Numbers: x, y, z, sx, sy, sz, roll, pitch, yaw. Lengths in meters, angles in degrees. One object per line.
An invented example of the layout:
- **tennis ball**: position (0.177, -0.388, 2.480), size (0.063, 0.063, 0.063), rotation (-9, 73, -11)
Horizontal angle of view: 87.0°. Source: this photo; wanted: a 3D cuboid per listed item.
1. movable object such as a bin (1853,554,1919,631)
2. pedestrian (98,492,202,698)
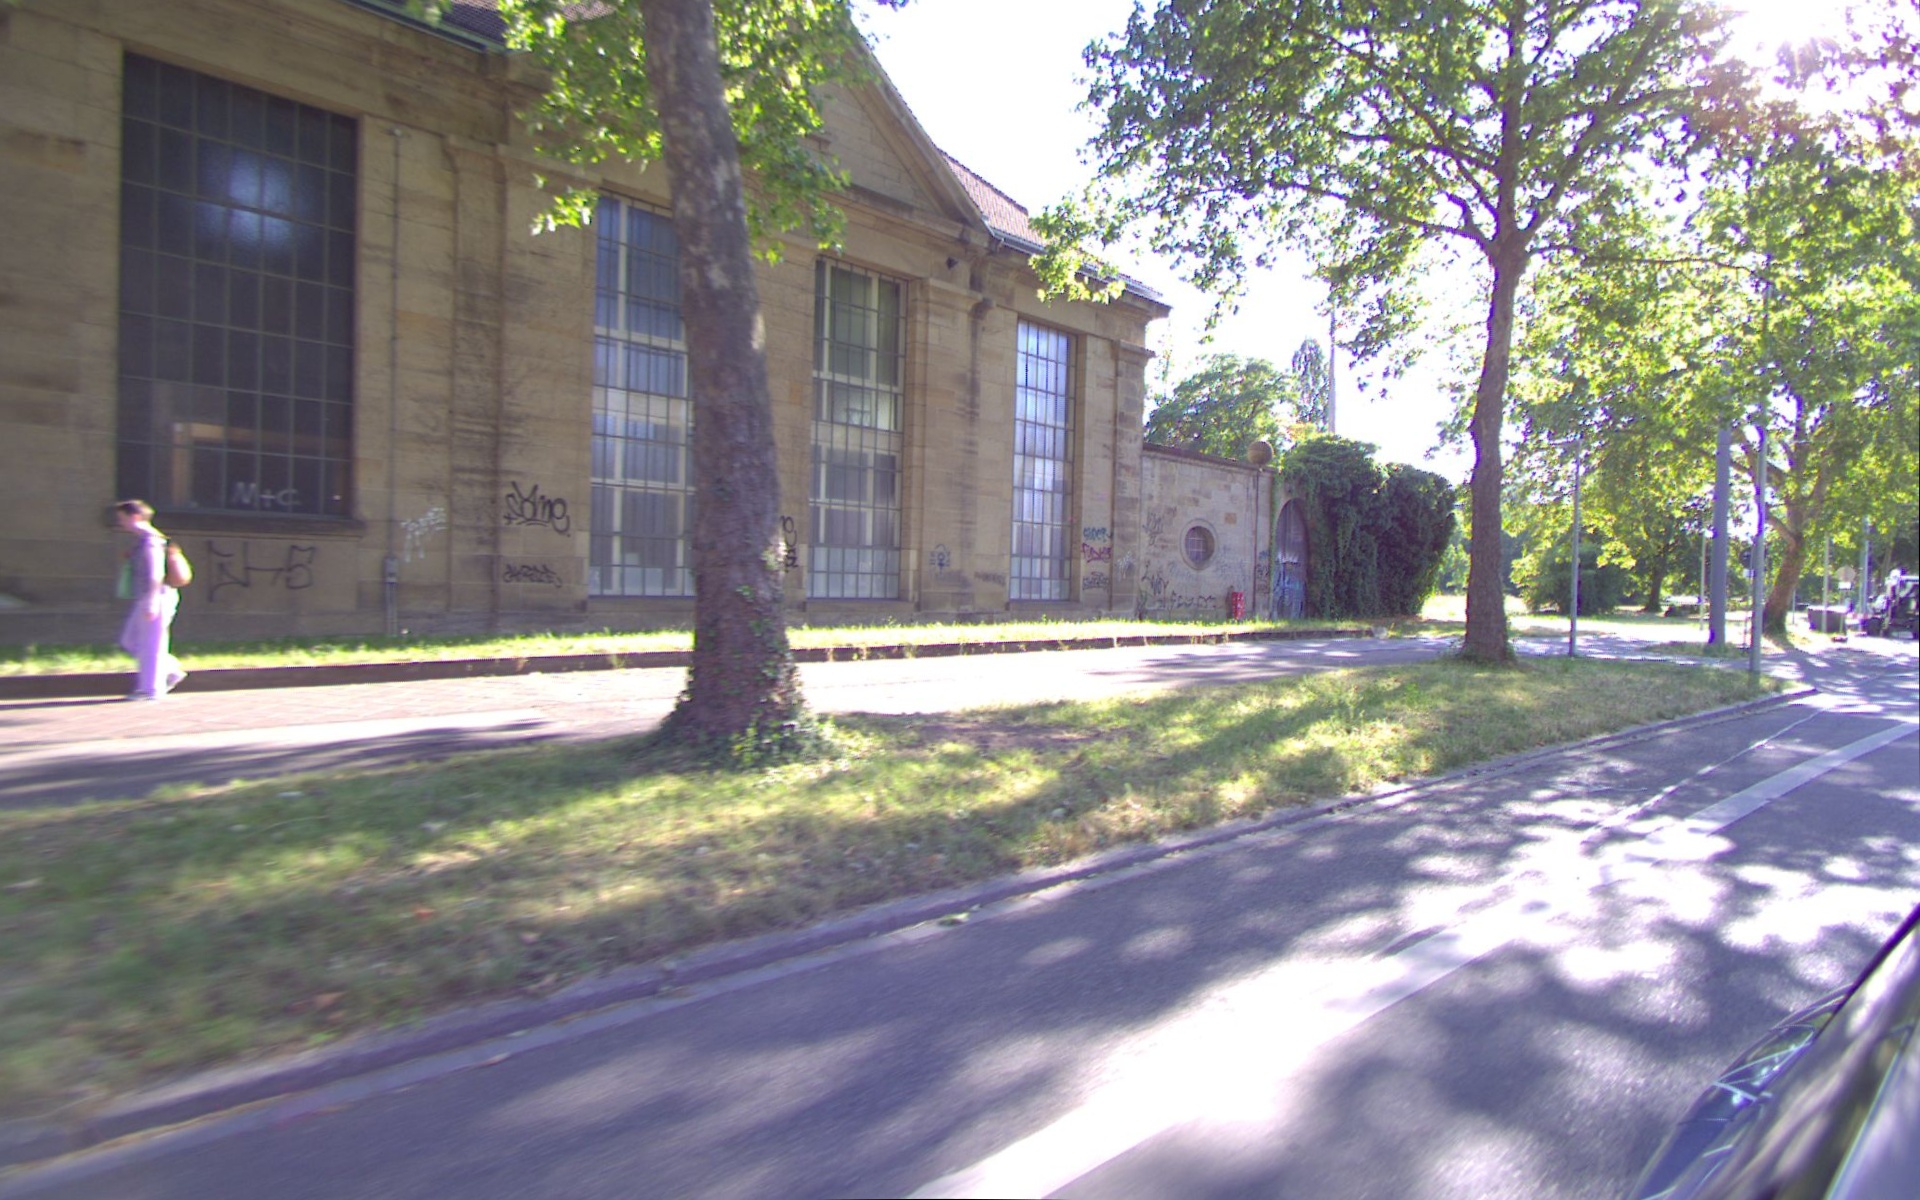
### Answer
- **movable object such as a bin**: position (43.428, -0.317, 46.442), size (7.096, 3.183, 2.750), rotation (1, 4, -43)
- **pedestrian**: position (-7.085, -0.062, 8.848), size (0.608, 1.701, 0.626), rotation (7, 5, 44)
